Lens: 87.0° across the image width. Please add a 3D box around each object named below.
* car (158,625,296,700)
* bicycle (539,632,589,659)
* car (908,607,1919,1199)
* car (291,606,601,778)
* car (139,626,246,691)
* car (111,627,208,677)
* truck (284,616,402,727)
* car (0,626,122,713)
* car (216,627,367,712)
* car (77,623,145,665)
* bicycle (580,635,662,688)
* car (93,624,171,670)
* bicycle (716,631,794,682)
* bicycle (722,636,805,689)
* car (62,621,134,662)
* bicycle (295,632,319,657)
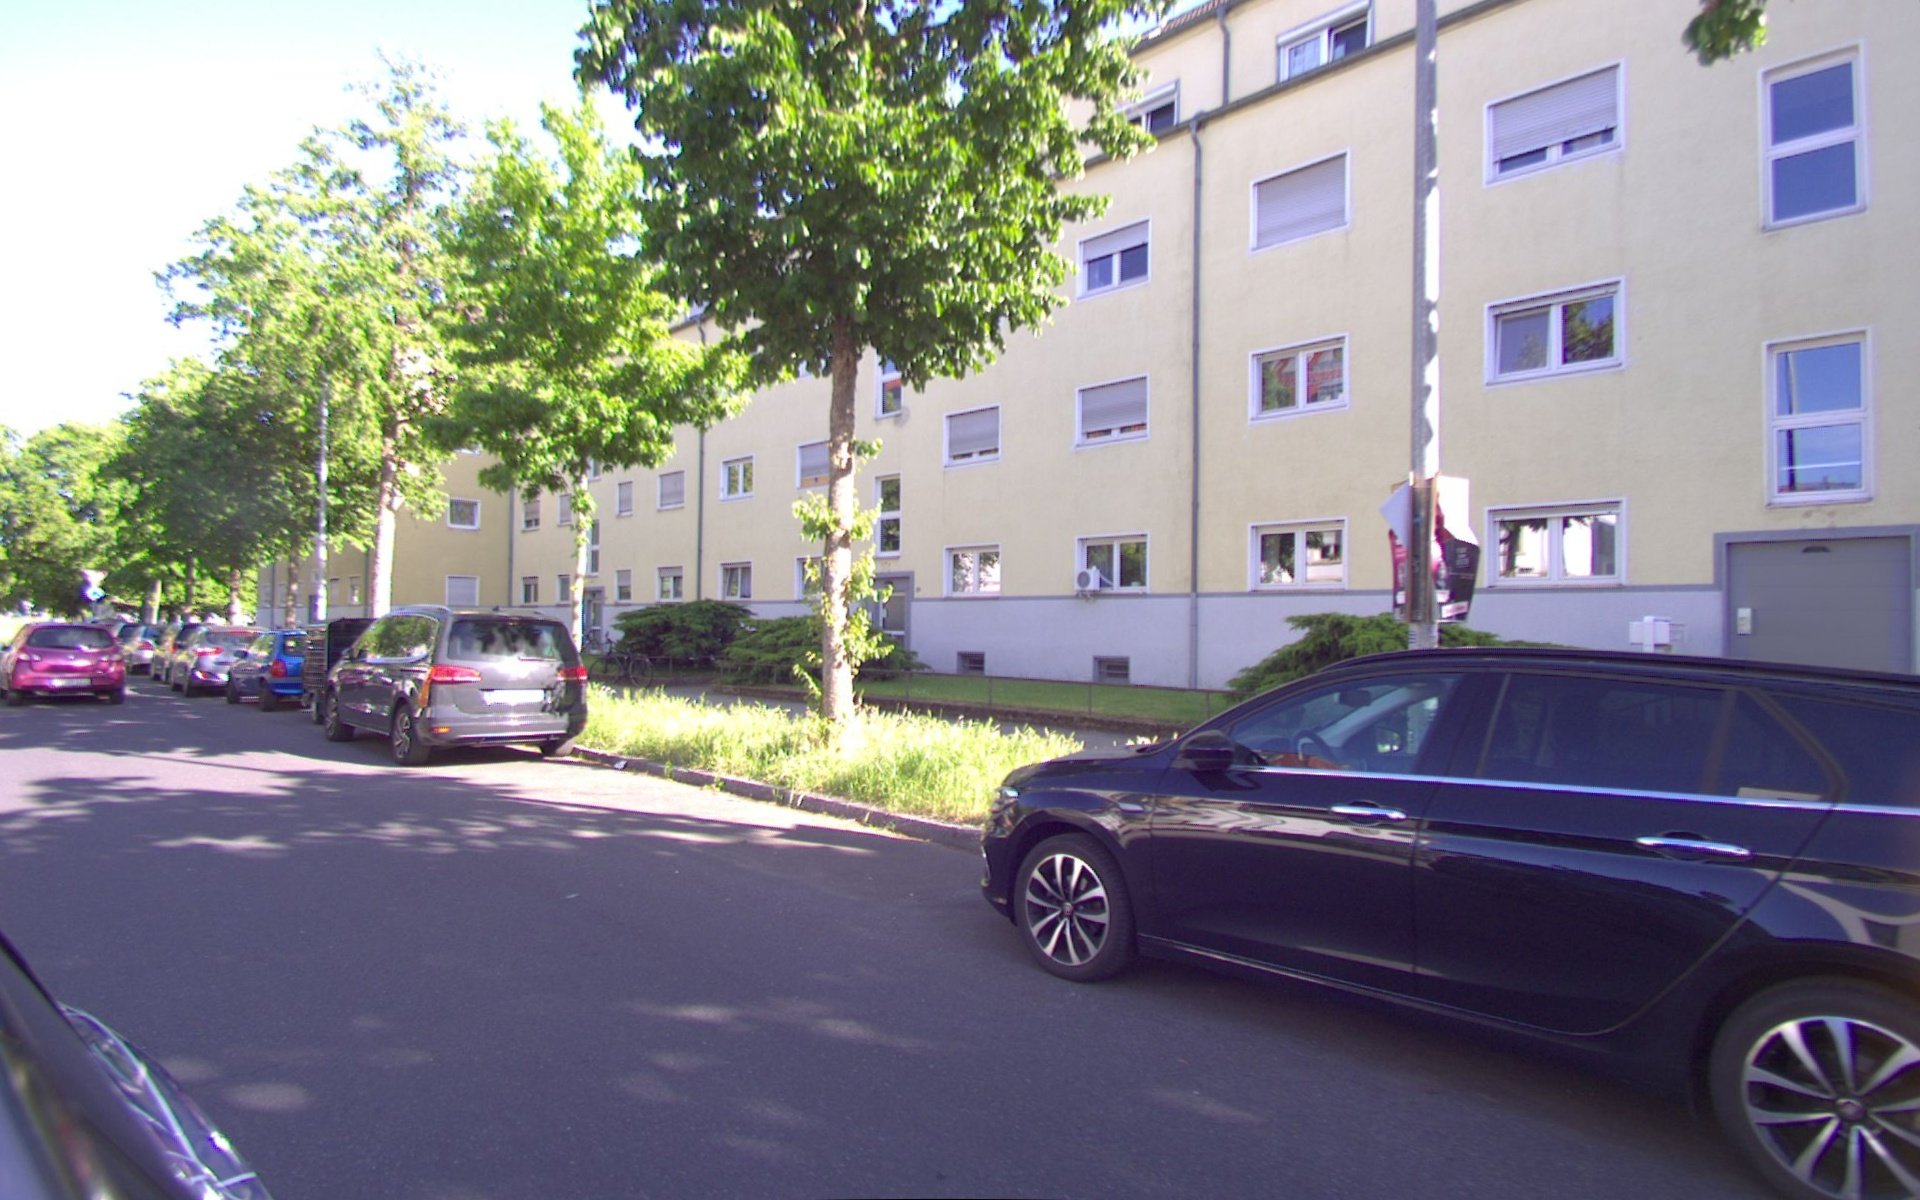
[{"bbox_3d":[-15.994,1.301,21.975,1.770,1.455,4.692,4,-4,-43],"label":"car"},{"bbox_3d":[-13.889,1.603,35.562,0.480,0.938,1.617,-1,-3,36],"label":"bicycle"},{"bbox_3d":[1.986,0.865,3.939,4.780,1.560,1.490,-1,-5,45],"label":"car"},{"bbox_3d":[-6.460,1.025,12.410,4.979,1.693,1.828,-2,-5,45],"label":"car"},{"bbox_3d":[-19.825,1.479,26.088,1.601,1.527,4.272,5,-5,-44],"label":"car"},{"bbox_3d":[-24.011,1.512,30.304,1.725,1.379,4.677,4,-4,-45],"label":"car"},{"bbox_3d":[-9.644,1.061,15.780,1.071,1.589,2.434,3,-3,-43],"label":"truck"},{"bbox_3d":[-16.467,1.206,18.430,3.179,1.437,1.488,-1,-3,44],"label":"car"},{"bbox_3d":[-12.408,1.219,18.710,3.727,1.406,1.504,-1,-3,44],"label":"car"},{"bbox_3d":[-31.489,1.615,37.507,1.645,1.497,3.258,3,-3,-45],"label":"car"},{"bbox_3d":[-7.491,1.345,22.353,1.832,1.089,0.483,0,0,21],"label":"bicycle"},{"bbox_3d":[-27.942,1.564,34.123,1.645,1.470,3.935,3,-3,-45],"label":"car"},{"bbox_3d":[-4.826,1.323,23.940,1.817,1.089,0.487,-1,0,-42],"label":"bicycle"},{"bbox_3d":[-4.220,1.332,21.855,0.486,1.089,1.820,-1,-3,42],"label":"bicycle"},{"bbox_3d":[-34.736,1.651,40.746,4.736,1.577,1.673,-2,-3,43],"label":"car"},{"bbox_3d":[-27.840,1.893,43.122,0.529,1.034,1.750,2,-3,-43],"label":"bicycle"}]
